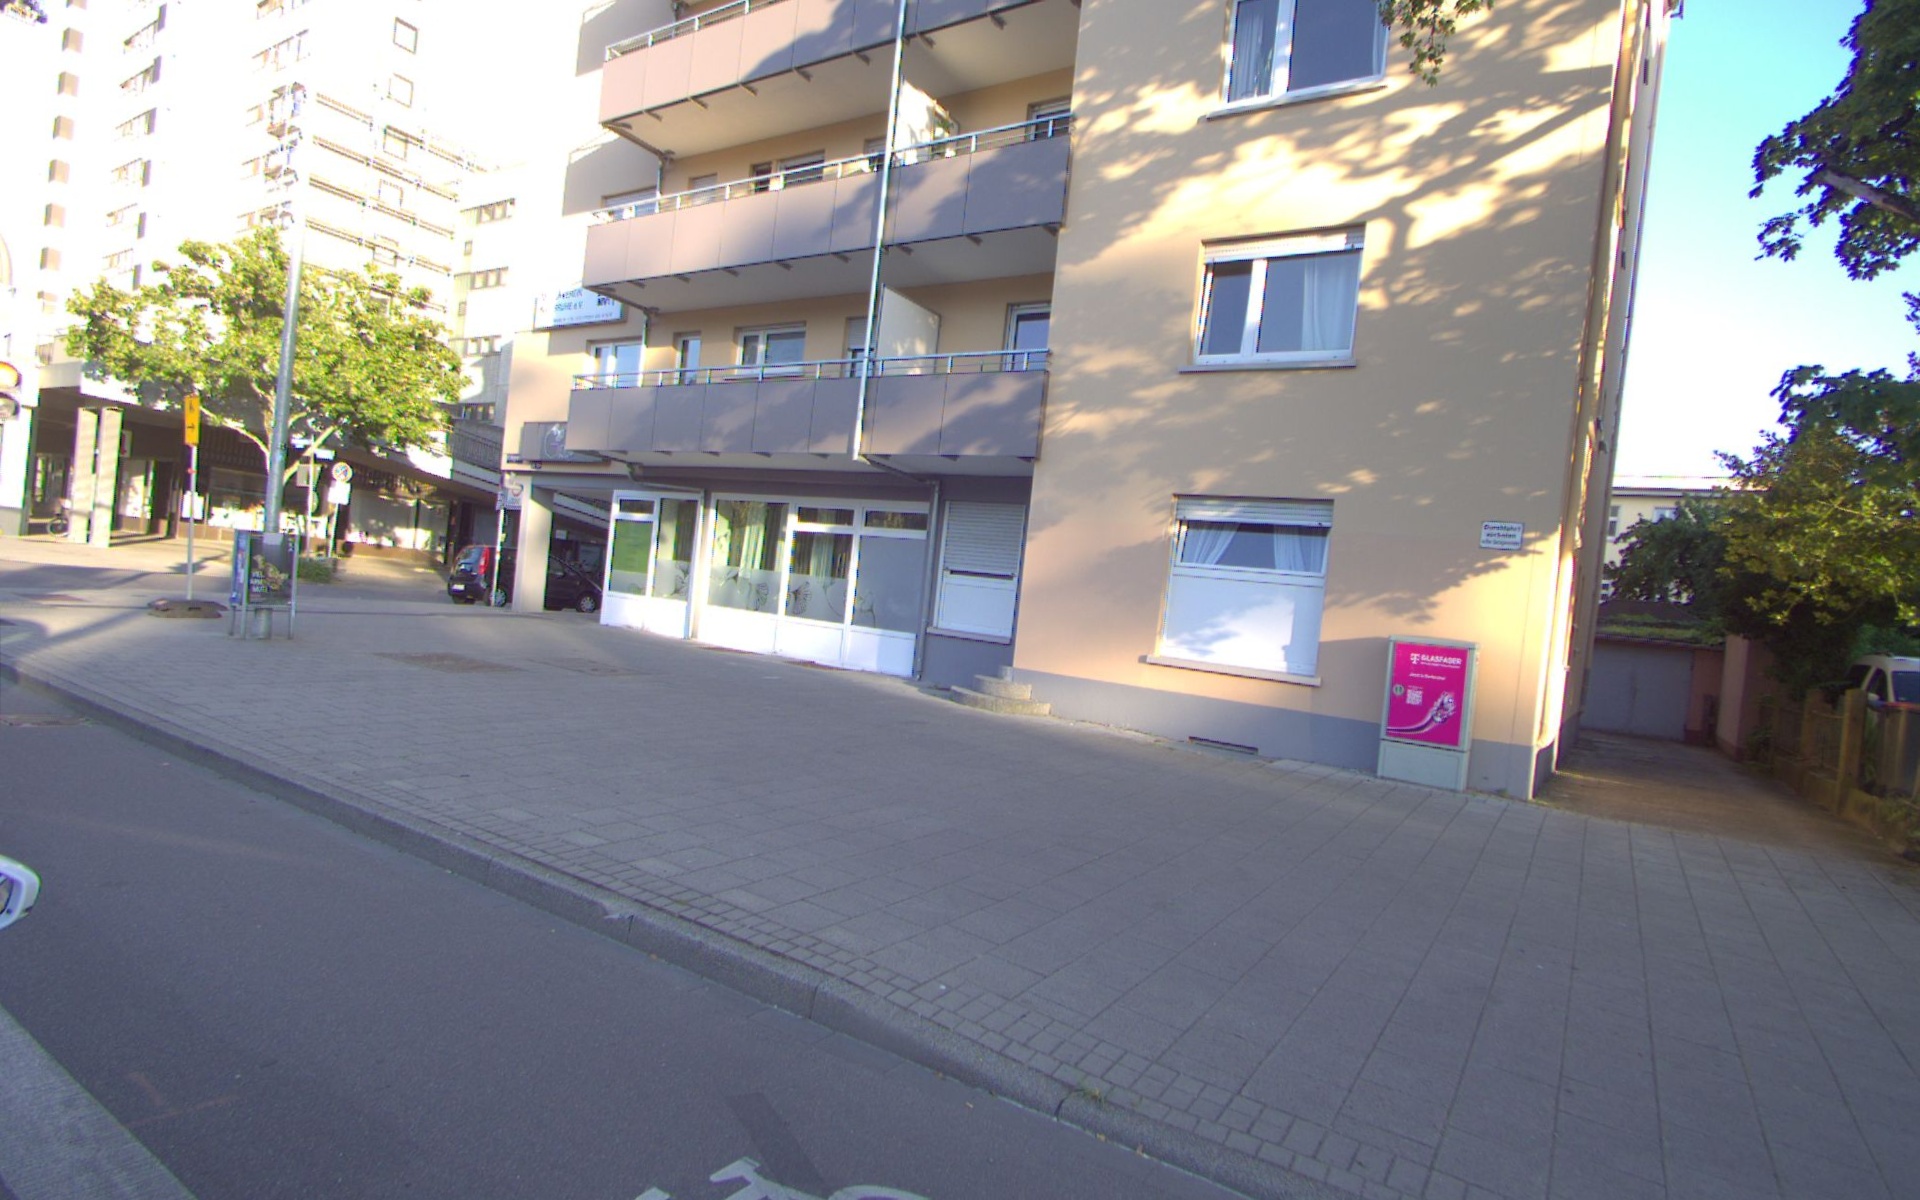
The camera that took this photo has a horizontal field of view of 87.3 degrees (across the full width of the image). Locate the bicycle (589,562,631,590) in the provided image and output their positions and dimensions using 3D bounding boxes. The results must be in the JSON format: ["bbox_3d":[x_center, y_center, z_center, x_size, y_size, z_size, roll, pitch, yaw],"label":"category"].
[{"bbox_3d":[-16.329,-1.109,46.959,1.943,1.087,0.582,6,-3,29],"label":"bicycle"}]

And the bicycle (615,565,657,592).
[{"bbox_3d":[-15.389,-1.028,47.750,1.942,1.087,0.583,6,-3,26],"label":"bicycle"}]

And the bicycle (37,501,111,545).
[{"bbox_3d":[-28.973,-2.512,32.913,1.984,1.162,0.692,7,-2,14],"label":"bicycle"}]

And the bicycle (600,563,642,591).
[{"bbox_3d":[-15.963,-1.074,47.397,1.943,1.087,0.582,6,-3,29],"label":"bicycle"}]

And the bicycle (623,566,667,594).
[{"bbox_3d":[-15.142,-0.969,48.317,1.941,1.087,0.583,6,-2,21],"label":"bicycle"}]

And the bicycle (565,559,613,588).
[{"bbox_3d":[-17.002,-1.209,46.104,1.939,1.087,0.584,7,-2,13],"label":"bicycle"}]

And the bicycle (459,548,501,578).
[{"bbox_3d":[-20.193,-1.574,42.335,1.946,1.086,0.581,5,-3,35],"label":"bicycle"}]

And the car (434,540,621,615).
[{"bbox_3d":[-10.876,-0.534,25.556,1.680,1.605,4.037,3,-1,36],"label":"car"}]

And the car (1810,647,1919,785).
[{"bbox_3d":[14.581,1.735,14.969,1.794,1.780,4.513,8,2,27],"label":"car"}]

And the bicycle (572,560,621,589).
[{"bbox_3d":[-16.812,-1.179,46.547,1.939,1.087,0.584,7,-2,9],"label":"bicycle"}]

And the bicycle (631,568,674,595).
[{"bbox_3d":[-14.965,-0.894,48.938,1.941,1.087,0.583,6,-2,21],"label":"bicycle"}]
